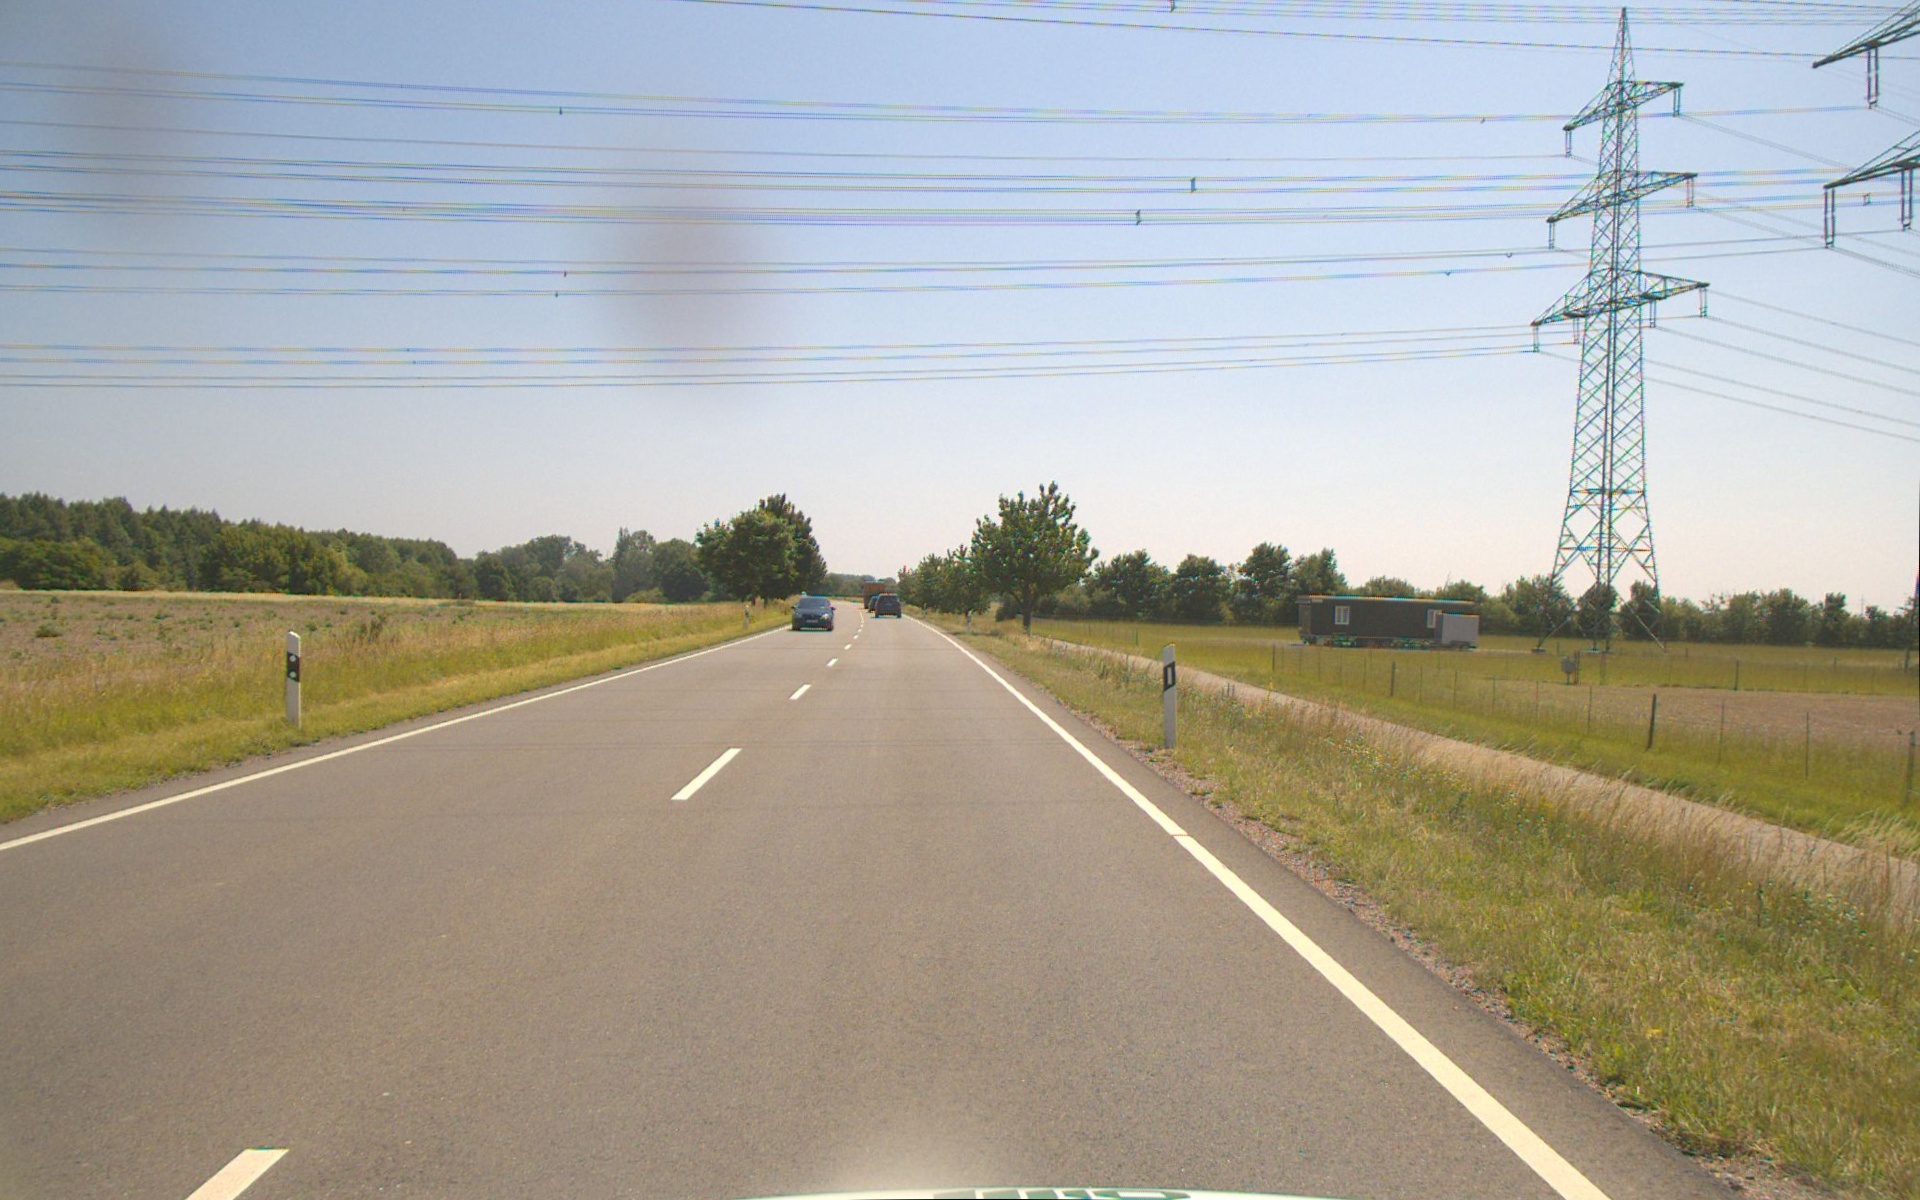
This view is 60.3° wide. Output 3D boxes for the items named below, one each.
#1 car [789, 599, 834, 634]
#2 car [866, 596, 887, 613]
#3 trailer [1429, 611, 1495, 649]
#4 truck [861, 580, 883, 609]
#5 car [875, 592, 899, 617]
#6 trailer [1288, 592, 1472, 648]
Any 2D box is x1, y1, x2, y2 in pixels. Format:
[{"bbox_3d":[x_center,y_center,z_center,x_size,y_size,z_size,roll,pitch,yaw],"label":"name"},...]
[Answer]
[{"bbox_3d":[-6.507,0.701,72.778,1.699,1.473,3.999,1,0,-1],"label":"car"},{"bbox_3d":[-7.776,0.408,153.594,1.814,1.549,3.997,1,0,-4],"label":"car"},{"bbox_3d":[35.119,2.107,115.809,3.911,2.485,1.997,2,0,-7],"label":"trailer"},{"bbox_3d":[-10.362,-0.594,193.305,2.324,3.195,8.739,1,0,-4],"label":"truck"},{"bbox_3d":[-5.258,0.333,118.632,1.681,1.723,3.986,1,0,-3],"label":"car"},{"bbox_3d":[30.019,1.427,118.475,12.168,3.533,3.802,2,0,-5],"label":"trailer"}]
